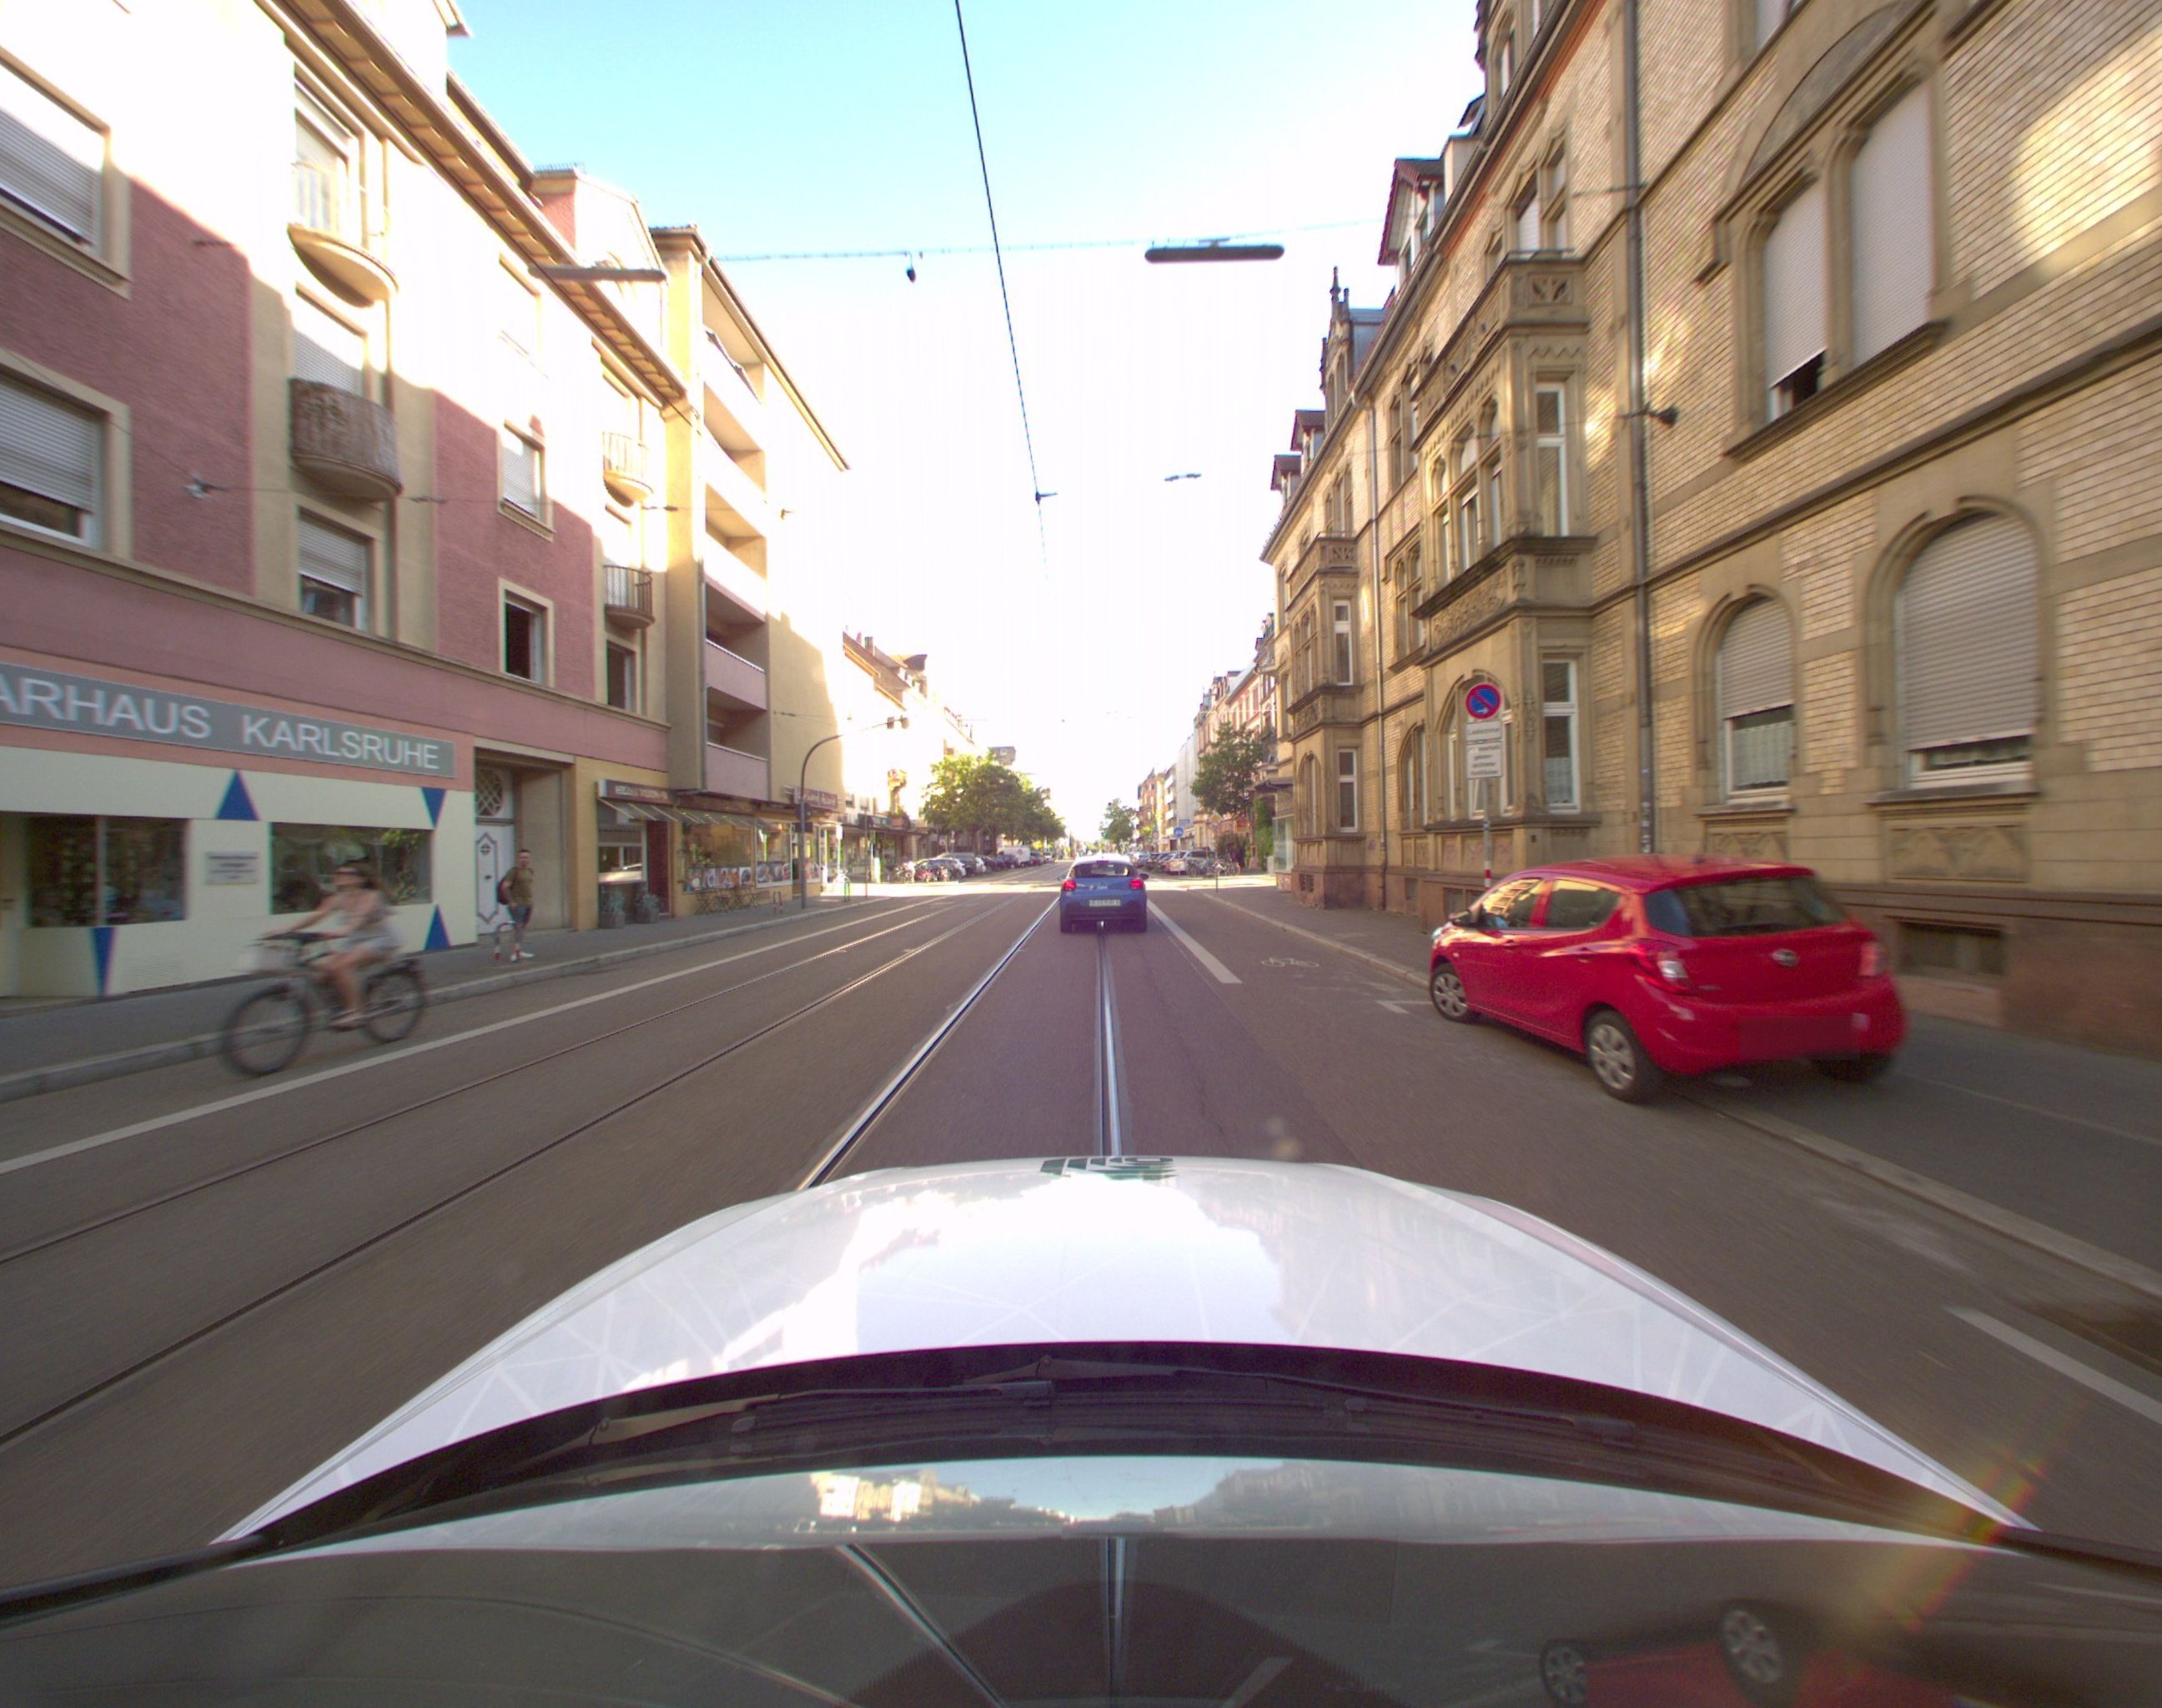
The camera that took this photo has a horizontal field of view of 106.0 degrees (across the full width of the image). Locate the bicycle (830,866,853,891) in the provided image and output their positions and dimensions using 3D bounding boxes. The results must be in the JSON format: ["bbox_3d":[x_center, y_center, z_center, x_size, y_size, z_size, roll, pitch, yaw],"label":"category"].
[{"bbox_3d":[-12.515,1.262,42.602,0.680,1.109,2.431,-1,2,-5],"label":"bicycle"}]

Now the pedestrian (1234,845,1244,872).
[{"bbox_3d":[10.753,0.299,55.425,0.516,1.778,0.864,-1,-1,1],"label":"pedestrian"}]

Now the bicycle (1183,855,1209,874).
[{"bbox_3d":[6.837,0.621,48.397,1.547,1.079,0.308,-1,-1,7],"label":"bicycle"}]

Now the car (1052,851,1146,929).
[{"bbox_3d":[0.367,0.693,17.067,1.756,1.441,3.557,-1,0,1],"label":"car"}]

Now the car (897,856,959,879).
[{"bbox_3d":[-9.518,0.838,50.659,3.484,1.337,1.608,0,-1,-33],"label":"car"}]

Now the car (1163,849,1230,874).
[{"bbox_3d":[7.723,0.493,54.358,4.005,1.536,1.903,-1,0,-24],"label":"car"}]

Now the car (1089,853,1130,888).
[{"bbox_3d":[1.384,0.770,39.733,1.866,1.596,4.001,-1,0,2],"label":"car"}]

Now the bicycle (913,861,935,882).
[{"bbox_3d":[-9.216,1.035,47.643,0.686,1.123,1.870,-2,2,-30],"label":"bicycle"}]

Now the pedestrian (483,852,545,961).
[{"bbox_3d":[-9.048,0.821,13.010,0.561,1.686,0.616,-1,-1,0],"label":"pedestrian"}]

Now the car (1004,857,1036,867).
[{"bbox_3d":[-7.909,1.027,105.604,3.815,1.265,1.504,-1,0,-25],"label":"car"}]

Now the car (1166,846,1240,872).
[{"bbox_3d":[7.760,0.294,51.947,4.371,1.596,1.839,-1,0,-24],"label":"car"}]

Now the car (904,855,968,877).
[{"bbox_3d":[-9.522,0.762,53.571,3.805,1.400,1.737,0,0,-32],"label":"car"}]

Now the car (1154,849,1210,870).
[{"bbox_3d":[8.096,0.436,65.115,4.005,1.596,1.944,-1,0,-24],"label":"car"}]

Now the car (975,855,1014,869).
[{"bbox_3d":[-9.533,0.893,89.671,3.994,1.489,1.797,-1,0,-16],"label":"car"}]

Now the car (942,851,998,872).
[{"bbox_3d":[-9.573,0.642,70.082,4.381,1.783,1.976,0,-1,-32],"label":"car"}]

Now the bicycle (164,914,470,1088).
[{"bbox_3d":[-6.363,1.152,6.986,0.600,1.096,2.045,-4,0,2],"label":"bicycle"}]

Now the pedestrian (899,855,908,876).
[{"bbox_3d":[-13.975,0.884,64.183,0.567,1.652,0.641,-1,-1,1],"label":"pedestrian"}]

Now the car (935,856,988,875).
[{"bbox_3d":[-9.594,0.906,65.292,3.850,1.430,1.751,-1,0,-25],"label":"car"}]

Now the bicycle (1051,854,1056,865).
[{"bbox_3d":[-4.291,0.833,127.098,0.678,1.678,2.097,-1,0,1],"label":"bicycle"}]

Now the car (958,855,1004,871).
[{"bbox_3d":[-9.583,0.892,78.295,4.008,1.489,1.790,-1,0,-27],"label":"car"}]

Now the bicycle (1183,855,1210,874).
[{"bbox_3d":[6.895,0.645,48.738,1.551,1.127,0.295,-1,-1,7],"label":"bicycle"}]

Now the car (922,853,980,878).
[{"bbox_3d":[-9.488,0.813,59.355,3.831,1.785,1.781,-1,-1,-27],"label":"car"}]

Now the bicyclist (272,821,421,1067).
[{"bbox_3d":[-6.349,0.743,7.073,0.609,2.014,0.734,-1,-1,1],"label":"bicyclist"}]

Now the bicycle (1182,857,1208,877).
[{"bbox_3d":[6.528,0.730,46.592,1.396,1.127,0.550,-1,-1,-8],"label":"bicycle"}]

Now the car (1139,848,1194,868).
[{"bbox_3d":[7.394,0.333,70.510,4.322,1.596,1.967,-1,0,-24],"label":"car"}]

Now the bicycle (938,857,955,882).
[{"bbox_3d":[-7.885,0.888,47.954,0.680,1.319,2.433,-1,2,-3],"label":"bicycle"}]

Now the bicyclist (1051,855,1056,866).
[{"bbox_3d":[-4.281,0.956,127.015,0.632,1.681,0.727,-1,-1,1],"label":"bicyclist"}]

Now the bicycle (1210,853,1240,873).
[{"bbox_3d":[8.382,0.514,47.437,1.665,1.127,0.552,-1,-1,7],"label":"bicycle"}]

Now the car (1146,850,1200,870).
[{"bbox_3d":[7.645,0.457,67.872,4.005,1.596,2.071,-1,0,-24],"label":"car"}]

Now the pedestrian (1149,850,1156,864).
[{"bbox_3d":[8.077,0.328,91.436,0.709,1.607,0.654,-1,-1,0],"label":"pedestrian"}]

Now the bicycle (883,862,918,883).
[{"bbox_3d":[-10.421,1.041,47.031,2.404,1.109,0.688,1,3,41],"label":"bicycle"}]

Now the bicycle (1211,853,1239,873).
[{"bbox_3d":[8.298,0.524,46.863,1.547,1.127,0.529,-1,-1,7],"label":"bicycle"}]

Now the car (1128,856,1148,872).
[{"bbox_3d":[5.764,1.003,82.713,1.866,1.596,4.721,-1,0,2],"label":"car"}]

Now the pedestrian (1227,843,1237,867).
[{"bbox_3d":[10.198,0.078,55.086,0.516,1.648,0.864,-1,-1,1],"label":"pedestrian"}]

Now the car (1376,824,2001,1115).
[{"bbox_3d":[4.178,0.652,6.738,1.859,1.482,4.401,-4,0,1],"label":"car"}]

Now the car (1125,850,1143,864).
[{"bbox_3d":[6.119,0.376,94.370,1.866,1.596,4.001,-1,0,2],"label":"car"}]

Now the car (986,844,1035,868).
[{"bbox_3d":[-8.269,0.240,95.681,5.403,2.749,1.789,0,-1,-29],"label":"car"}]

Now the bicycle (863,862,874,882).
[{"bbox_3d":[-12.407,1.054,47.562,0.404,1.109,1.825,-1,-1,-20],"label":"bicycle"}]

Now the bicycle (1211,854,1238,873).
[{"bbox_3d":[8.551,0.585,48.546,1.547,1.127,0.552,-1,-1,7],"label":"bicycle"}]

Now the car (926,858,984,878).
[{"bbox_3d":[-9.598,1.068,61.927,4.032,1.449,1.682,0,-1,-32],"label":"car"}]

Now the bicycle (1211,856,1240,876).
[{"bbox_3d":[8.205,0.664,46.278,1.547,1.127,0.552,-1,-1,7],"label":"bicycle"}]

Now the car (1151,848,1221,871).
[{"bbox_3d":[7.426,0.370,57.572,4.454,1.596,2.072,-1,0,-24],"label":"car"}]
